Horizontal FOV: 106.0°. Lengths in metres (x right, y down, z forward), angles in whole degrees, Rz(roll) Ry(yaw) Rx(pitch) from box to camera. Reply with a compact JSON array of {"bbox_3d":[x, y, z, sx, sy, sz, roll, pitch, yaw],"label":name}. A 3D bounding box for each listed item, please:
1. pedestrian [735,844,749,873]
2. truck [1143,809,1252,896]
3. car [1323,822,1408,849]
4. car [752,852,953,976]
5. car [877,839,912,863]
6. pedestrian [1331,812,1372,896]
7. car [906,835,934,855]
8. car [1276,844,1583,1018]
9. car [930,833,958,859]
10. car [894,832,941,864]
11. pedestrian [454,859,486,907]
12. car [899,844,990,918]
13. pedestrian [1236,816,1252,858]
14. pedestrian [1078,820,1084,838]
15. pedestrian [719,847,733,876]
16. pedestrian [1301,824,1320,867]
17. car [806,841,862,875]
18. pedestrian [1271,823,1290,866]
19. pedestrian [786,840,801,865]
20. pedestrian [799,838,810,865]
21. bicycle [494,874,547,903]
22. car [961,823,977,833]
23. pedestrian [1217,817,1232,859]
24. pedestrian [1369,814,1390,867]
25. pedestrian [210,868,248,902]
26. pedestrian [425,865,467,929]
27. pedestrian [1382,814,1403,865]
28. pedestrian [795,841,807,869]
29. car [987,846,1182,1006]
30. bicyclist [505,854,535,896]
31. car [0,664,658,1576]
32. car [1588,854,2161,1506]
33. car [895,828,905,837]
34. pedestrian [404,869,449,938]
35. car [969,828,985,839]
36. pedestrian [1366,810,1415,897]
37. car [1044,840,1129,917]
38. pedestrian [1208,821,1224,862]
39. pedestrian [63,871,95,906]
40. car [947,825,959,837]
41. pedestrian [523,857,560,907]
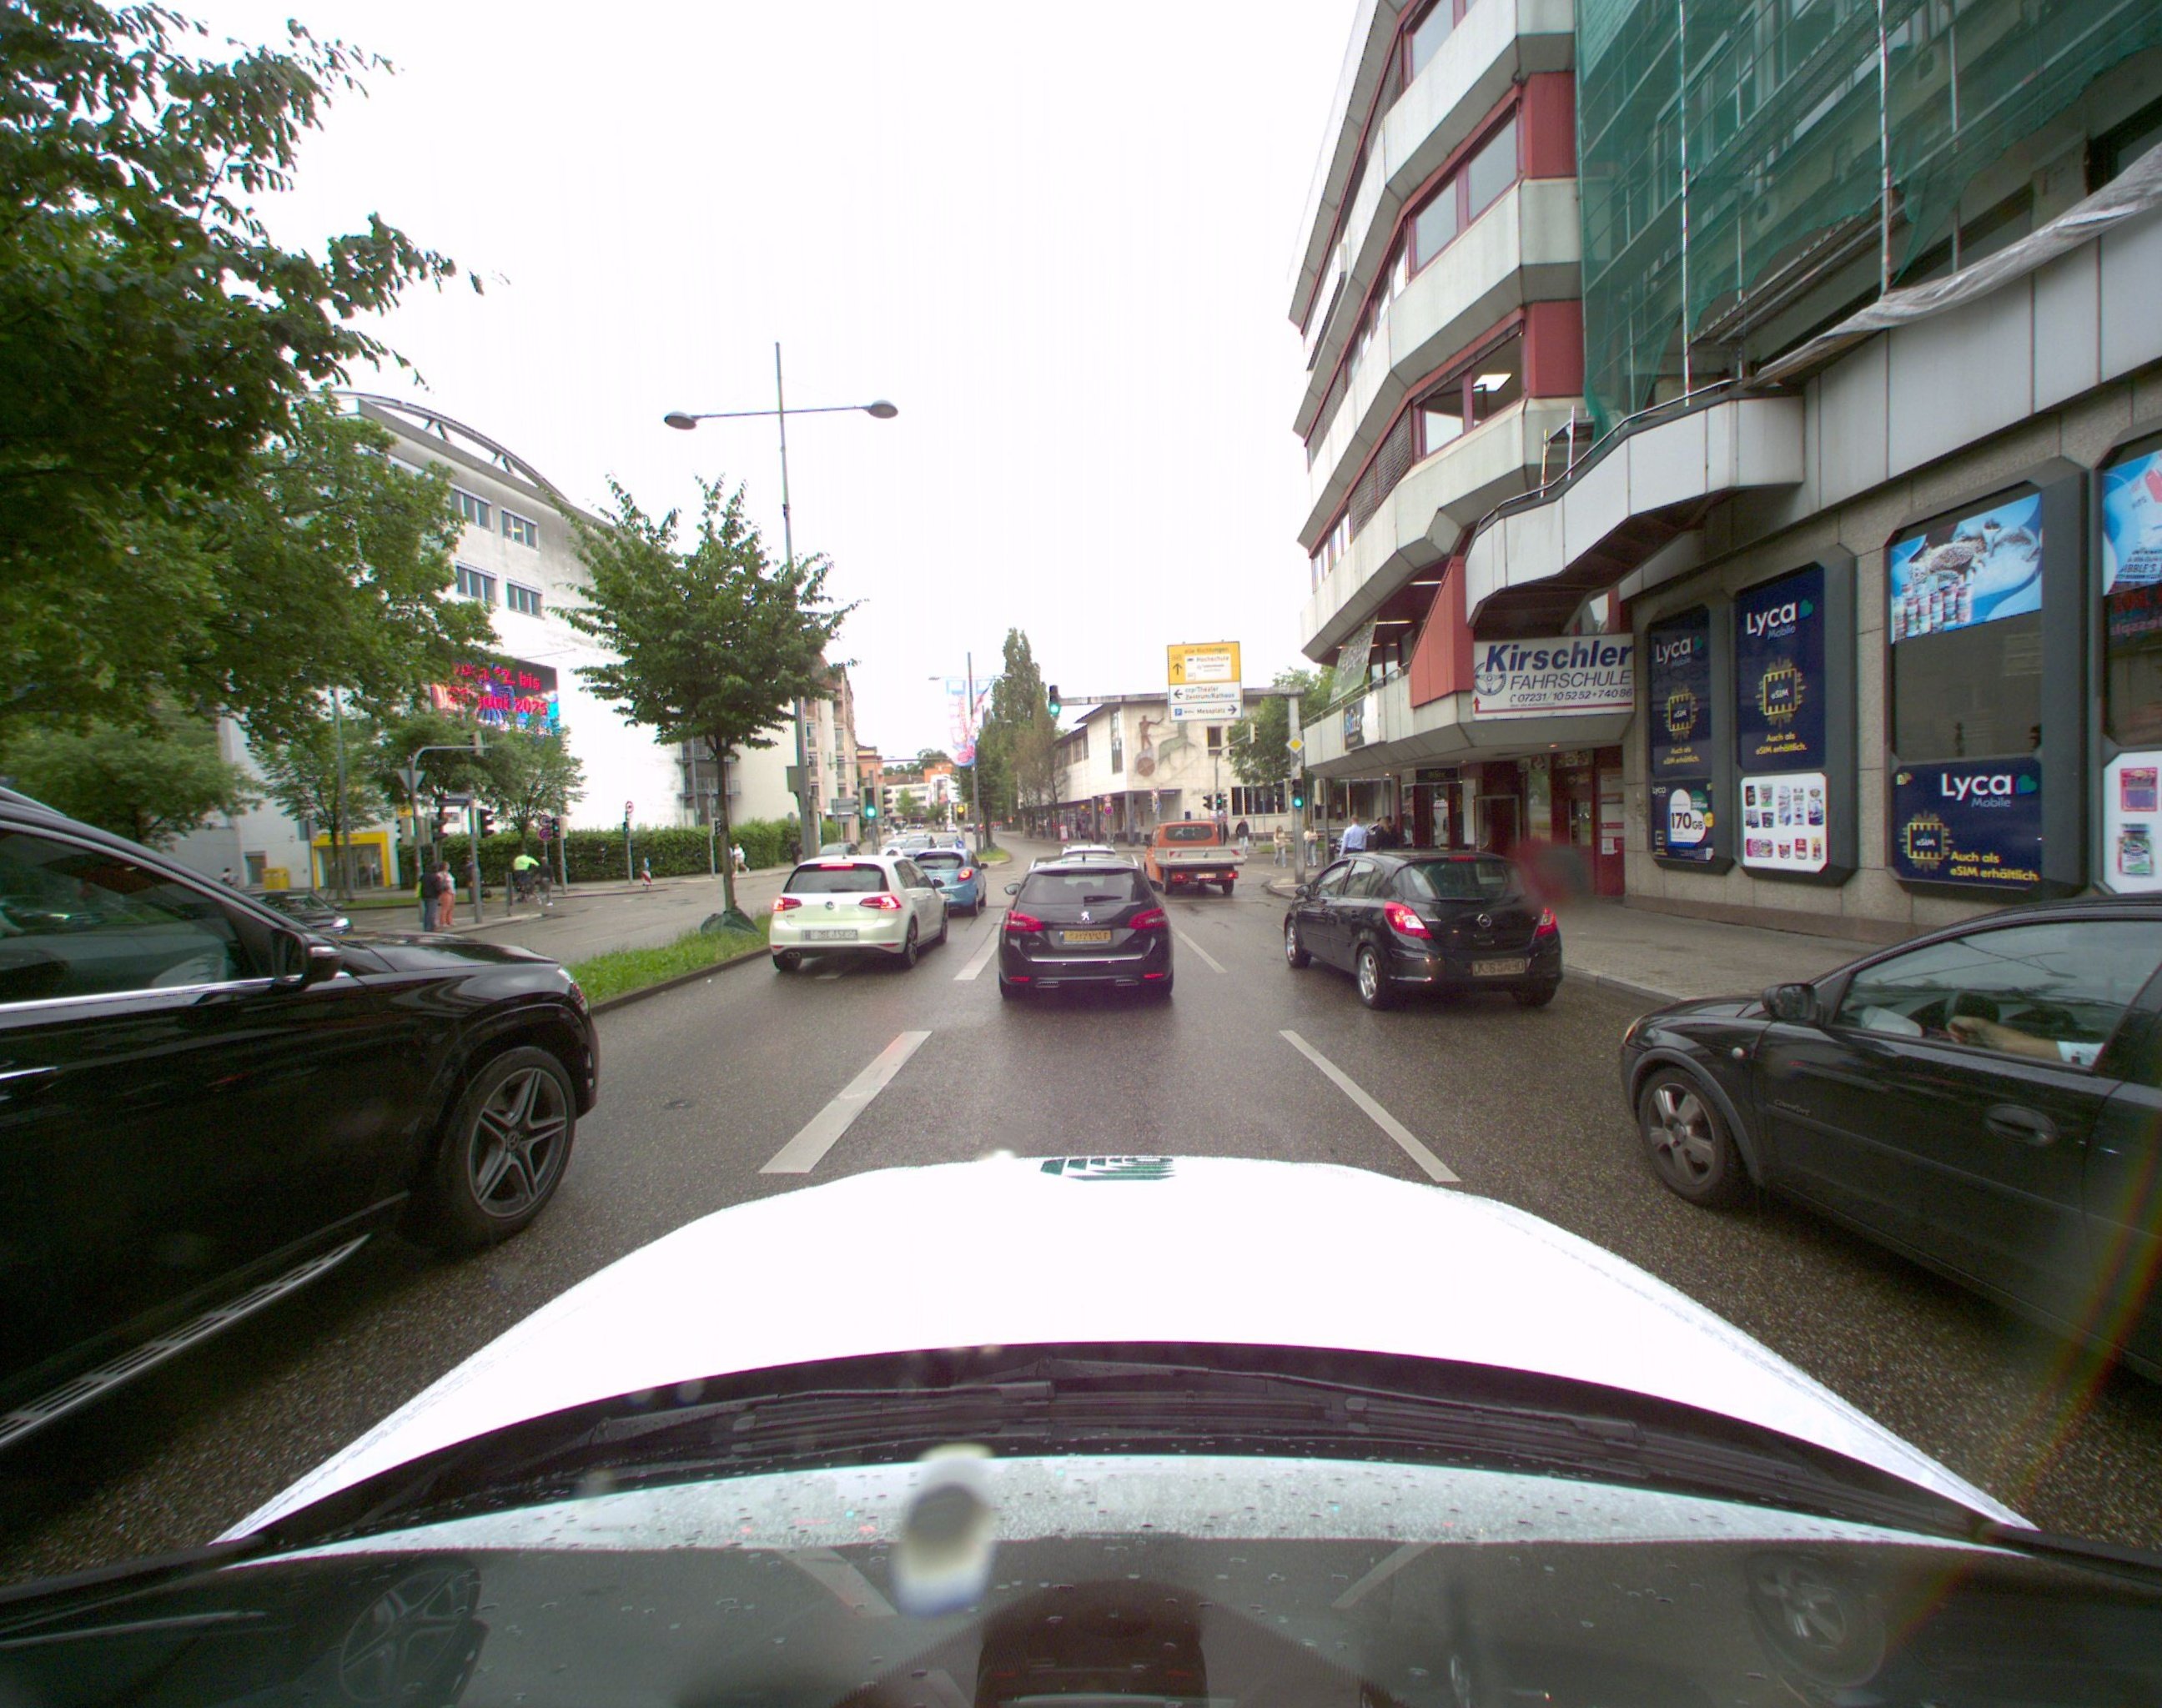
[{"bbox_3d":[-18.741,0.268,45.014,0.579,1.599,0.526,-1,-1,-5],"label":"pedestrian"},{"bbox_3d":[3.112,-0.094,22.936,2.171,2.172,5.017,-1,1,-2],"label":"truck"},{"bbox_3d":[13.943,-0.877,40.079,3.669,1.212,1.839,-1,-1,6],"label":"car"},{"bbox_3d":[-3.032,0.710,11.656,1.772,1.429,3.842,-1,1,0],"label":"car"},{"bbox_3d":[-12.161,-0.197,53.278,1.630,1.486,3.604,-1,1,-4],"label":"car"},{"bbox_3d":[6.344,0.009,19.128,0.733,1.935,0.640,-1,-1,1],"label":"pedestrian"},{"bbox_3d":[-12.538,-0.745,63.607,1.630,1.486,3.604,-1,1,-4],"label":"car"},{"bbox_3d":[3.407,0.625,8.785,1.611,1.429,3.840,-1,1,-1],"label":"car"},{"bbox_3d":[-9.225,-0.511,55.075,1.743,1.640,3.988,0,-1,-9],"label":"car"},{"bbox_3d":[-8.713,-0.283,43.700,1.739,1.579,3.997,-1,-1,-1],"label":"car"},{"bbox_3d":[-22.144,1.038,29.529,0.637,1.666,0.580,-2,2,1],"label":"pedestrian"},{"bbox_3d":[-3.047,0.536,18.791,1.629,1.486,3.606,-1,1,-3],"label":"car"},{"bbox_3d":[7.426,-0.766,37.065,0.633,1.897,0.735,-1,-1,8],"label":"pedestrian"},{"bbox_3d":[-0.018,-2.528,82.797,0.469,1.748,0.537,0,-1,-19],"label":"pedestrian"},{"bbox_3d":[-19.549,0.413,44.860,0.579,1.599,0.526,-1,-1,-5],"label":"pedestrian"},{"bbox_3d":[9.002,-0.317,31.974,0.633,1.659,0.735,-1,-1,8],"label":"pedestrian"},{"bbox_3d":[-11.713,0.147,38.831,1.569,1.486,3.608,-1,1,-1],"label":"car"},{"bbox_3d":[7.864,-0.367,32.169,0.633,1.659,0.735,-1,-1,8],"label":"pedestrian"},{"bbox_3d":[-18.670,-0.090,52.897,0.634,1.643,0.735,-1,-1,5],"label":"pedestrian"},{"bbox_3d":[-17.738,-0.155,52.271,0.538,1.748,0.564,-1,-1,-3],"label":"pedestrian"},{"bbox_3d":[-21.354,1.297,31.063,0.613,1.000,1.941,-3,-1,2],"label":"bicycle"},{"bbox_3d":[-19.622,-4.499,142.721,1.732,1.490,4.698,0,-1,-21],"label":"car"},{"bbox_3d":[6.566,-0.737,37.284,0.633,1.897,0.735,-1,-1,8],"label":"pedestrian"},{"bbox_3d":[9.609,-0.434,26.192,0.424,1.682,0.450,-3,-1,0],"label":"pedestrian"},{"bbox_3d":[-40.276,1.458,38.512,1.059,1.578,0.683,-1,-1,-3],"label":"pedestrian"},{"bbox_3d":[-16.971,1.138,21.777,0.555,1.661,0.580,-2,2,2],"label":"pedestrian"},{"bbox_3d":[10.134,-0.458,26.512,0.395,1.640,0.504,-3,-1,2],"label":"pedestrian"},{"bbox_3d":[-17.434,0.062,50.723,0.538,1.748,0.745,0,-1,-7],"label":"pedestrian"},{"bbox_3d":[0.081,0.647,9.396,1.771,1.429,3.843,-1,1,1],"label":"car"},{"bbox_3d":[-21.377,0.802,31.050,0.629,1.530,0.609,-3,-1,1],"label":"bicyclist"},{"bbox_3d":[-3.176,0.554,1.670,1.905,1.870,5.073,-1,-1,1],"label":"car"},{"bbox_3d":[3.272,0.751,2.281,1.600,1.429,3.626,-1,1,3],"label":"car"},{"bbox_3d":[-44.081,-5.216,198.068,1.999,2.014,3.976,0,-1,-18],"label":"car"},{"bbox_3d":[-16.531,1.245,20.581,0.555,1.661,0.580,-2,2,2],"label":"pedestrian"},{"bbox_3d":[-16.032,-3.133,124.909,1.790,1.454,4.485,-5,3,-14],"label":"car"},{"bbox_3d":[7.254,-0.003,19.139,0.733,1.934,0.640,-5,-1,1],"label":"pedestrian"},{"bbox_3d":[0.161,0.461,18.169,1.690,1.486,3.795,-1,1,2],"label":"car"},{"bbox_3d":[5.950,-0.530,35.887,0.633,1.758,0.735,-1,-1,8],"label":"pedestrian"},{"bbox_3d":[-48.528,1.673,39.448,0.633,1.643,0.735,-1,-1,8],"label":"pedestrian"},{"bbox_3d":[-23.151,-4.148,147.738,1.709,1.882,3.979,0,-1,-15],"label":"car"},{"bbox_3d":[-18.752,0.966,28.326,0.750,1.661,0.628,-2,2,1],"label":"pedestrian"}]
